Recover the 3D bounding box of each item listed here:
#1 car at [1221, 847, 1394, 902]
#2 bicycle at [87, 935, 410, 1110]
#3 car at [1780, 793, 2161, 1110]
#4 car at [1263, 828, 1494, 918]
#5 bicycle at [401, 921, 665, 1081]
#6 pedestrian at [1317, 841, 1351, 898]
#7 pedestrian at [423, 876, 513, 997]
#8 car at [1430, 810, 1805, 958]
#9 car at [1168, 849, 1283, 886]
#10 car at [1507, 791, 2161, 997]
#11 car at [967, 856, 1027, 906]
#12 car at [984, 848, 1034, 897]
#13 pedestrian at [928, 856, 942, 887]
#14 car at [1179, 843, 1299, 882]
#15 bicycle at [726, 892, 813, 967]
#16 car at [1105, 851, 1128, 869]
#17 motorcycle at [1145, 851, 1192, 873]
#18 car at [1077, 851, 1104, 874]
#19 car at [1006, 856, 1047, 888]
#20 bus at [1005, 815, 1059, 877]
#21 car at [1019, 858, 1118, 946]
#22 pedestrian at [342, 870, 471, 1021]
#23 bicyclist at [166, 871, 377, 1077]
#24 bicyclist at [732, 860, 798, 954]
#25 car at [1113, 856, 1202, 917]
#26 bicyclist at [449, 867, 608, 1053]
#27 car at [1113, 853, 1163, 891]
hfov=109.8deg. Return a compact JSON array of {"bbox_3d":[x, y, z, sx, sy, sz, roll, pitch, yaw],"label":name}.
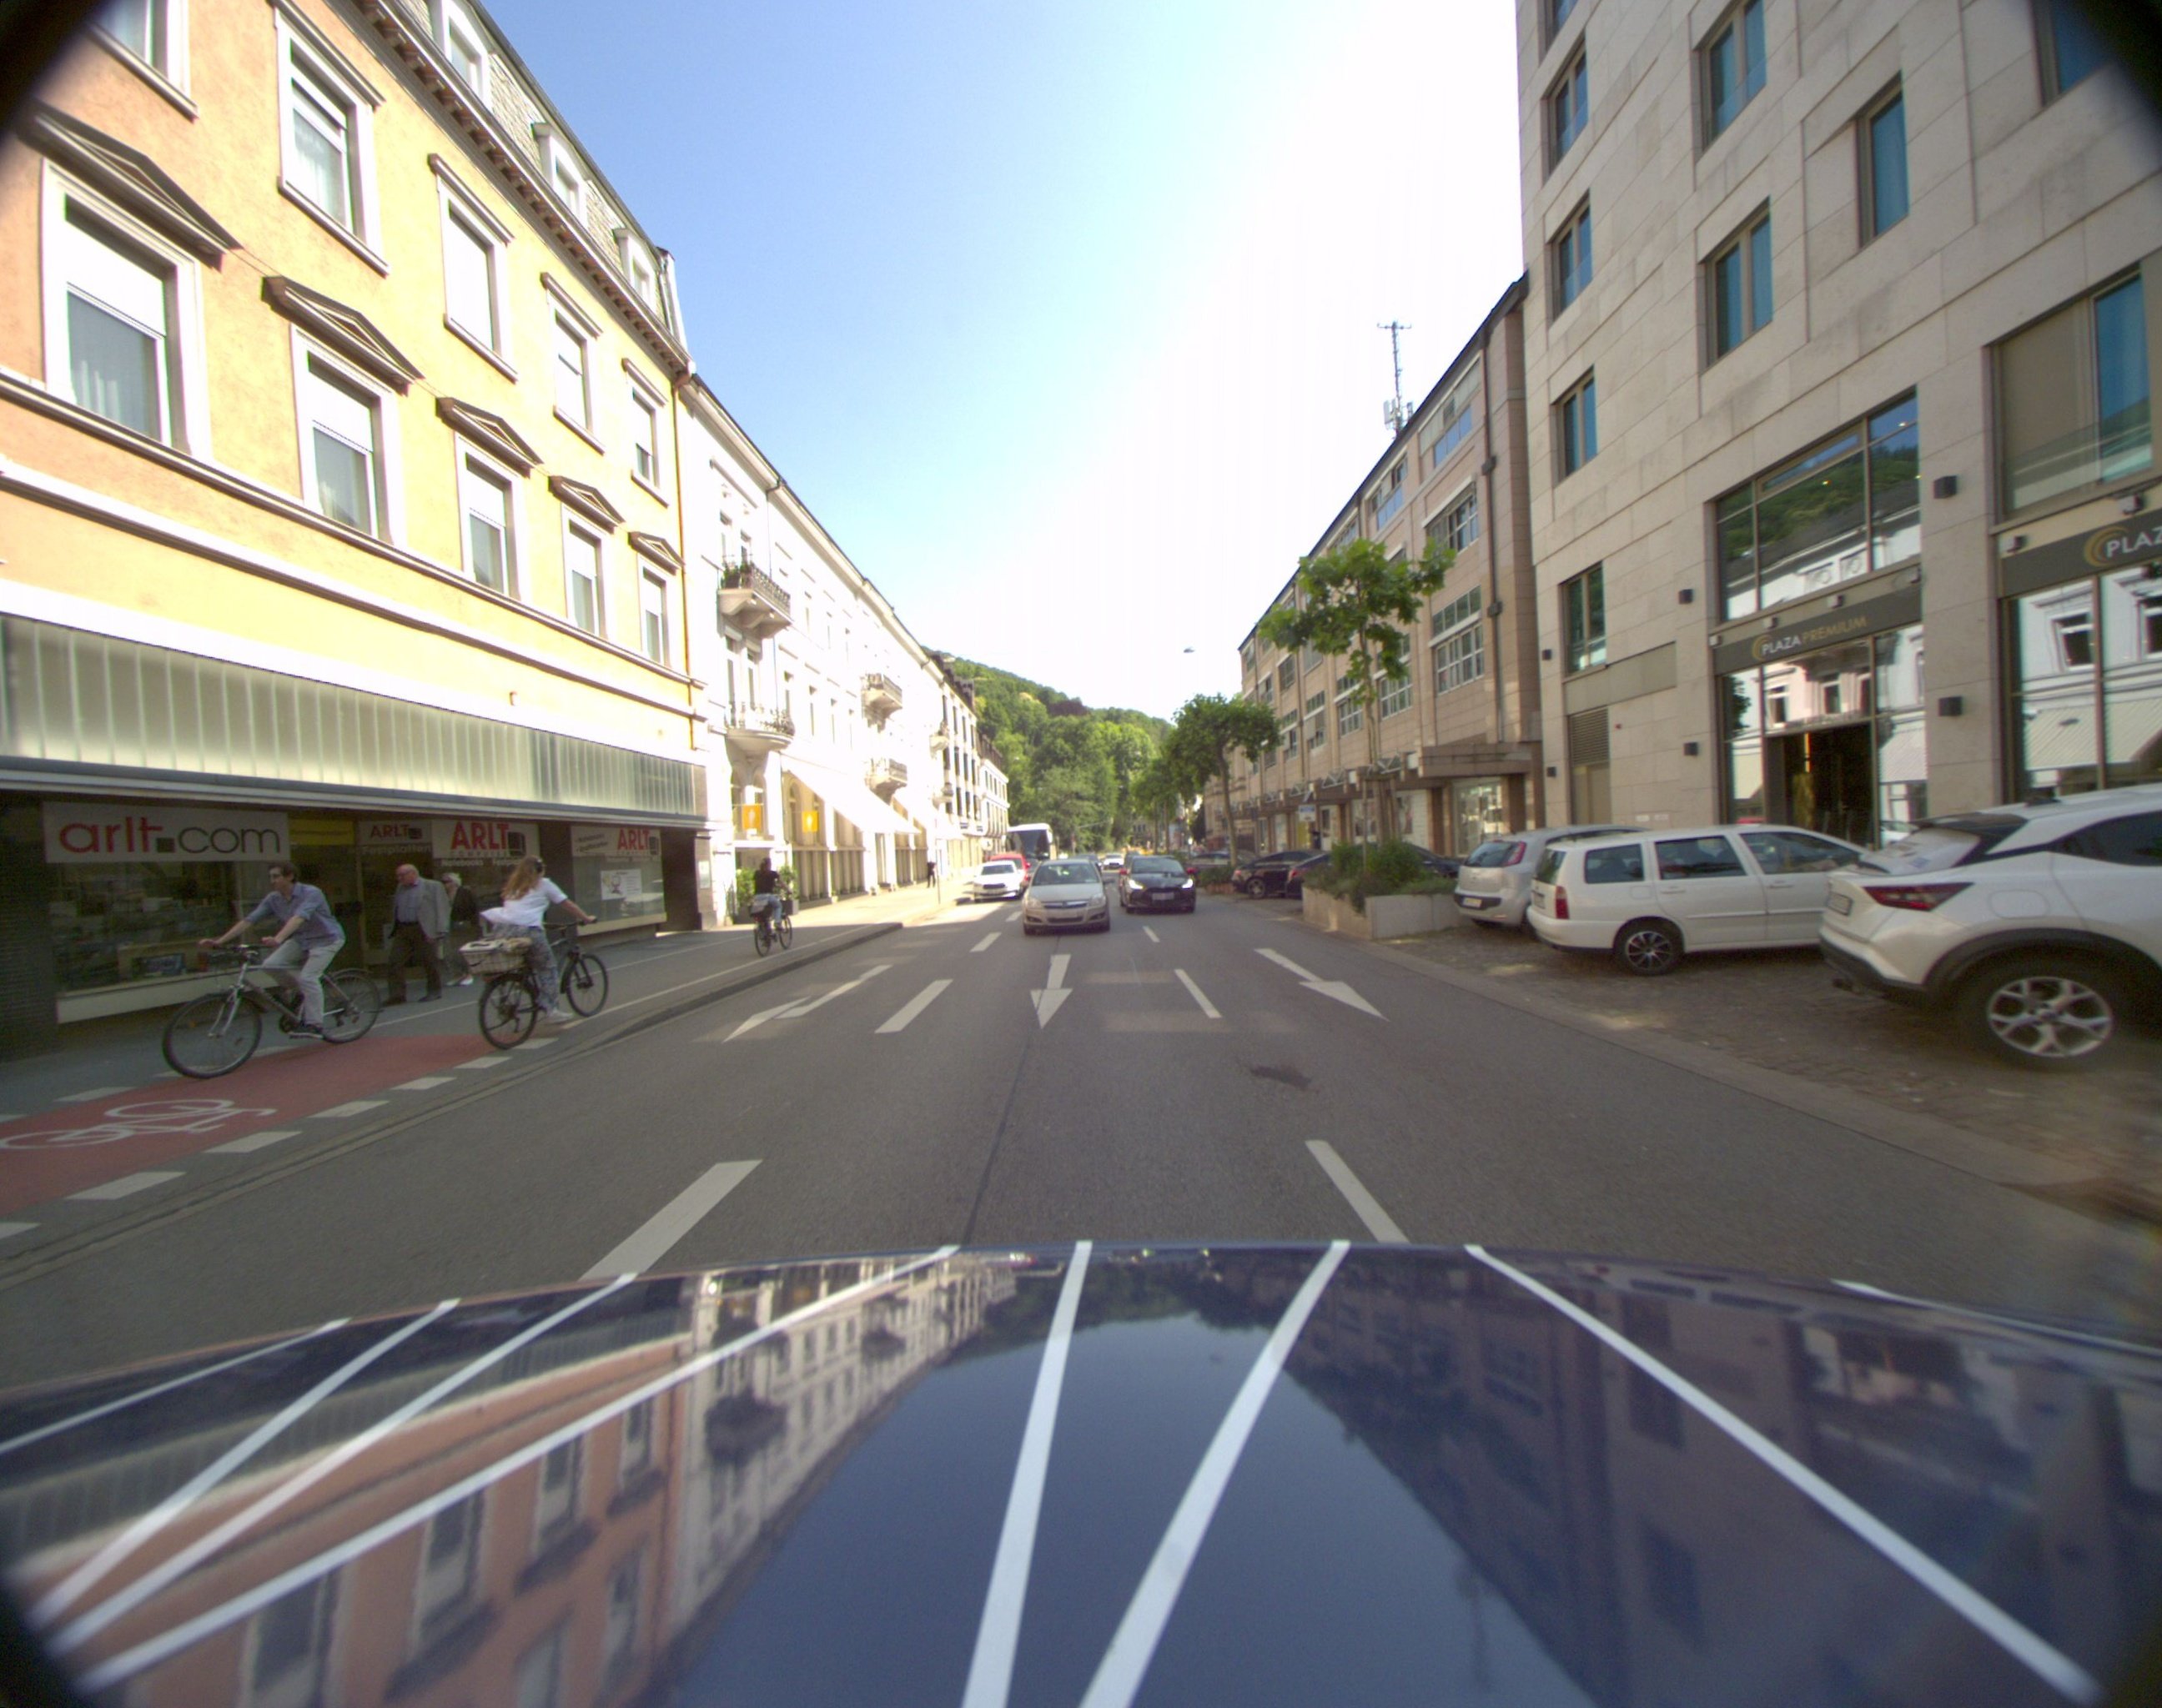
[{"bbox_3d":[6.604,0.594,22.526,4.609,1.438,1.736,-2,1,45],"label":"car"},{"bbox_3d":[-7.317,1.415,6.868,0.748,1.111,1.918,-3,0,-1],"label":"bicycle"},{"bbox_3d":[7.002,0.436,4.372,4.029,1.584,1.822,-8,0,34],"label":"car"},{"bbox_3d":[6.699,0.458,17.260,4.521,1.496,1.795,-7,1,31],"label":"car"},{"bbox_3d":[-5.465,1.393,7.884,0.743,1.120,2.573,-1,1,2],"label":"bicycle"},{"bbox_3d":[8.517,0.514,25.576,0.840,1.868,0.844,-2,1,1],"label":"pedestrian"},{"bbox_3d":[-9.053,1.192,11.250,0.522,1.656,0.844,-3,2,1],"label":"pedestrian"},{"bbox_3d":[7.459,0.365,10.868,3.997,1.519,1.819,-6,2,0],"label":"car"},{"bbox_3d":[6.103,0.582,32.412,4.392,1.438,1.890,-2,0,40],"label":"car"},{"bbox_3d":[7.202,0.430,7.876,4.493,1.424,1.865,-8,0,21],"label":"car"},{"bbox_3d":[-3.155,0.978,29.322,1.799,1.516,4.262,-6,1,-1],"label":"car"},{"bbox_3d":[-3.245,0.830,35.034,1.703,1.901,4.607,-7,0,-1],"label":"car"},{"bbox_3d":[-8.085,0.954,42.081,0.482,1.659,0.868,-2,1,1],"label":"pedestrian"},{"bbox_3d":[7.216,0.434,35.140,5.120,1.623,1.847,-2,0,40],"label":"car"},{"bbox_3d":[-5.552,1.316,13.705,0.596,1.120,2.094,-1,1,2],"label":"bicycle"},{"bbox_3d":[3.026,0.457,65.111,1.733,1.389,4.106,-3,0,1],"label":"car"},{"bbox_3d":[5.684,0.516,49.665,0.980,1.343,3.095,-3,1,-42],"label":"motorcycle"},{"bbox_3d":[0.634,0.570,51.932,1.775,1.469,4.107,-1,-1,1],"label":"car"},{"bbox_3d":[-2.817,0.900,40.046,1.868,1.479,4.414,-3,0,-1],"label":"car"},{"bbox_3d":[-3.061,-0.551,50.916,2.924,3.516,12.497,-2,1,-1],"label":"bus"},{"bbox_3d":[-0.282,0.907,16.347,1.791,1.484,4.367,-3,1,-1],"label":"car"},{"bbox_3d":[-8.486,1.123,9.601,0.840,1.781,0.767,-2,1,1],"label":"pedestrian"},{"bbox_3d":[-7.334,1.041,6.941,0.910,1.707,0.844,-2,1,-2],"label":"bicyclist"},{"bbox_3d":[-5.596,0.917,13.503,0.747,1.564,0.844,-2,1,1],"label":"bicyclist"},{"bbox_3d":[1.933,0.808,20.388,1.868,1.469,4.106,0,-1,-1],"label":"car"},{"bbox_3d":[-5.497,1.007,7.638,0.747,1.693,1.036,-2,1,1],"label":"bicyclist"},{"bbox_3d":[2.392,0.718,32.699,1.734,1.389,4.105,-4,1,-1],"label":"car"}]
